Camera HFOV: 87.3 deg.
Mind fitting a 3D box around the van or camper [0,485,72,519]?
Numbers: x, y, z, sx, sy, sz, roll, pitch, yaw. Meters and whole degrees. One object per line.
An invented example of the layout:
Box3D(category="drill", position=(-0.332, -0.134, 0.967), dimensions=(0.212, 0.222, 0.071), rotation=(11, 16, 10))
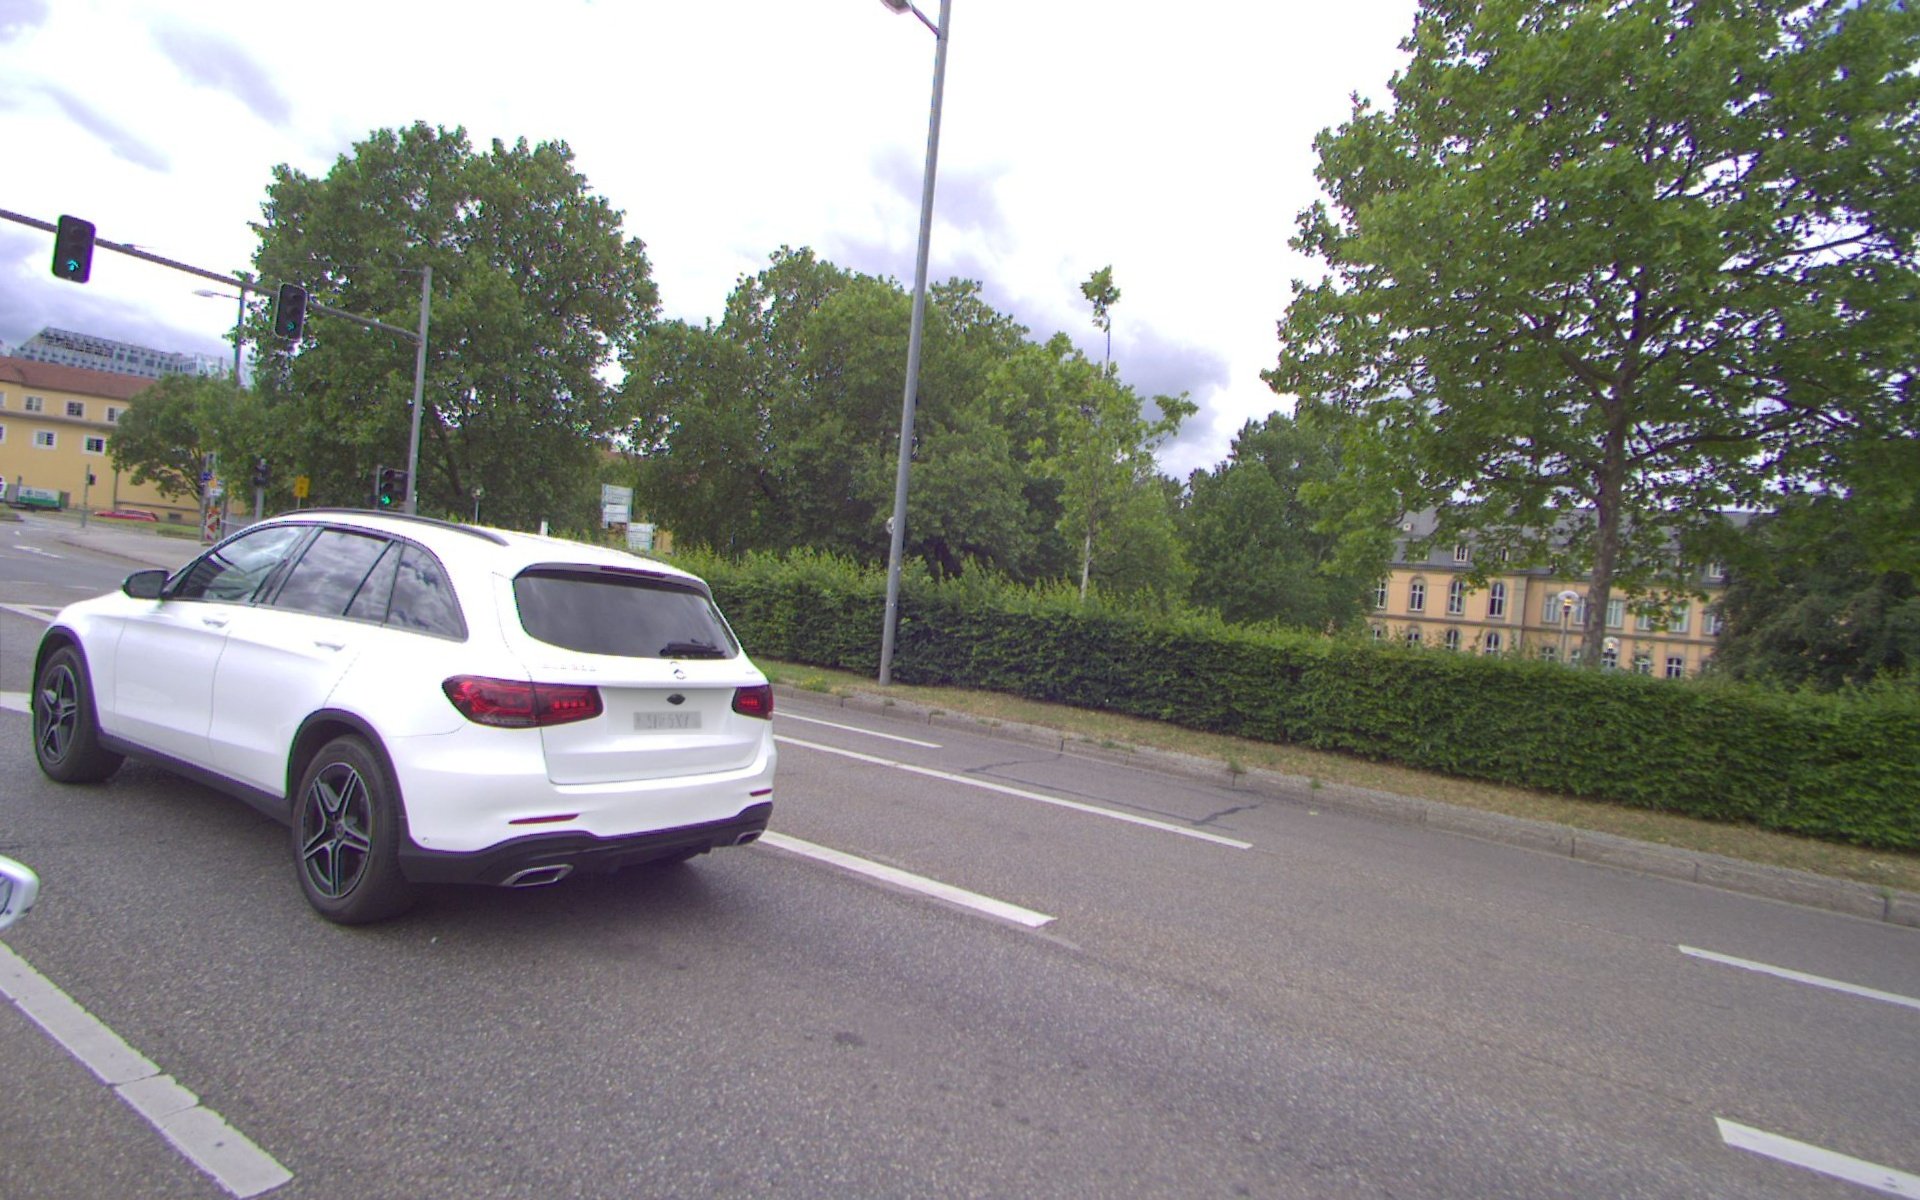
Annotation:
Box3D(category="van or camper", position=(-77.531, -8.197, 82.949), dimensions=(5.945, 2.038, 2.009), rotation=(7, -1, -23))

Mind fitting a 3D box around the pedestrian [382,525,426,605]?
Box3D(category="pedestrian", position=(-13.160, -0.828, 23.806), dimensions=(0.609, 1.785, 0.479), rotation=(7, 0, 29))

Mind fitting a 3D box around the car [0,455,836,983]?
Box3D(category="car", position=(-2.999, 0.318, 5.310), dimensions=(4.305, 1.667, 1.822), rotation=(7, 0, 31))

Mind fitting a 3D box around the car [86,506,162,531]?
Box3D(category="car", position=(-71.272, -6.945, 85.887), dimensions=(4.637, 1.438, 1.586), rotation=(7, -1, -27))
